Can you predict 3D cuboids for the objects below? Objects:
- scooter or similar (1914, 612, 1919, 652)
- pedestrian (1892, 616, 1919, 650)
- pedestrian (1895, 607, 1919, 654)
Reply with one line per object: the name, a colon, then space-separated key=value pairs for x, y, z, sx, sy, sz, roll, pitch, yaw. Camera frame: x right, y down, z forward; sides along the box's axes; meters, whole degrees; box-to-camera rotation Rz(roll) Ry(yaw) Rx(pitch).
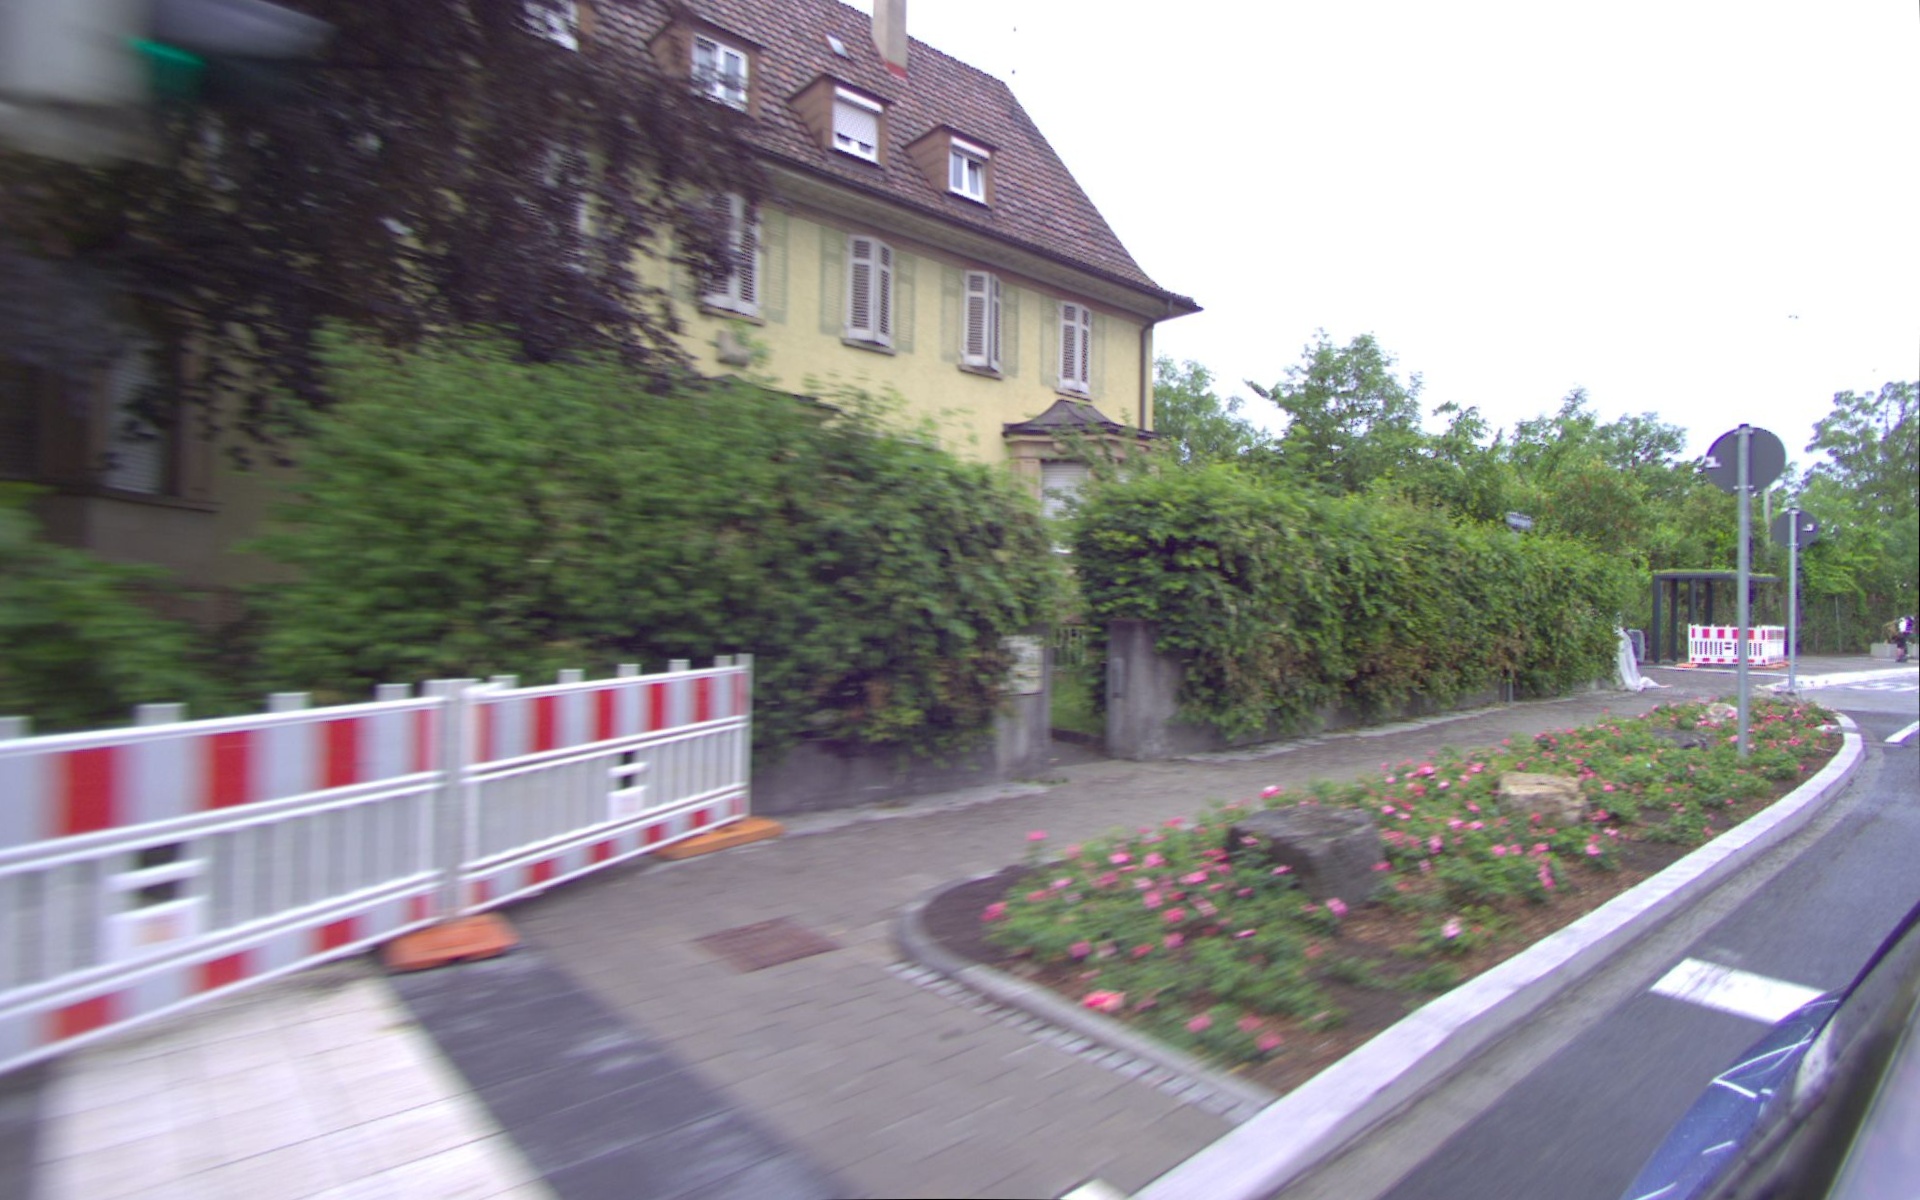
scooter or similar: x=32.445 y=1.078 z=33.543 sx=1.225 sy=1.332 sz=0.231 roll=0 pitch=-1 yaw=15
pedestrian: x=38.192 y=1.324 z=40.518 sx=1.054 sy=1.346 sz=0.805 roll=0 pitch=-1 yaw=18
pedestrian: x=32.054 y=1.028 z=33.924 sx=0.908 sy=1.566 sz=0.542 roll=0 pitch=-1 yaw=18
